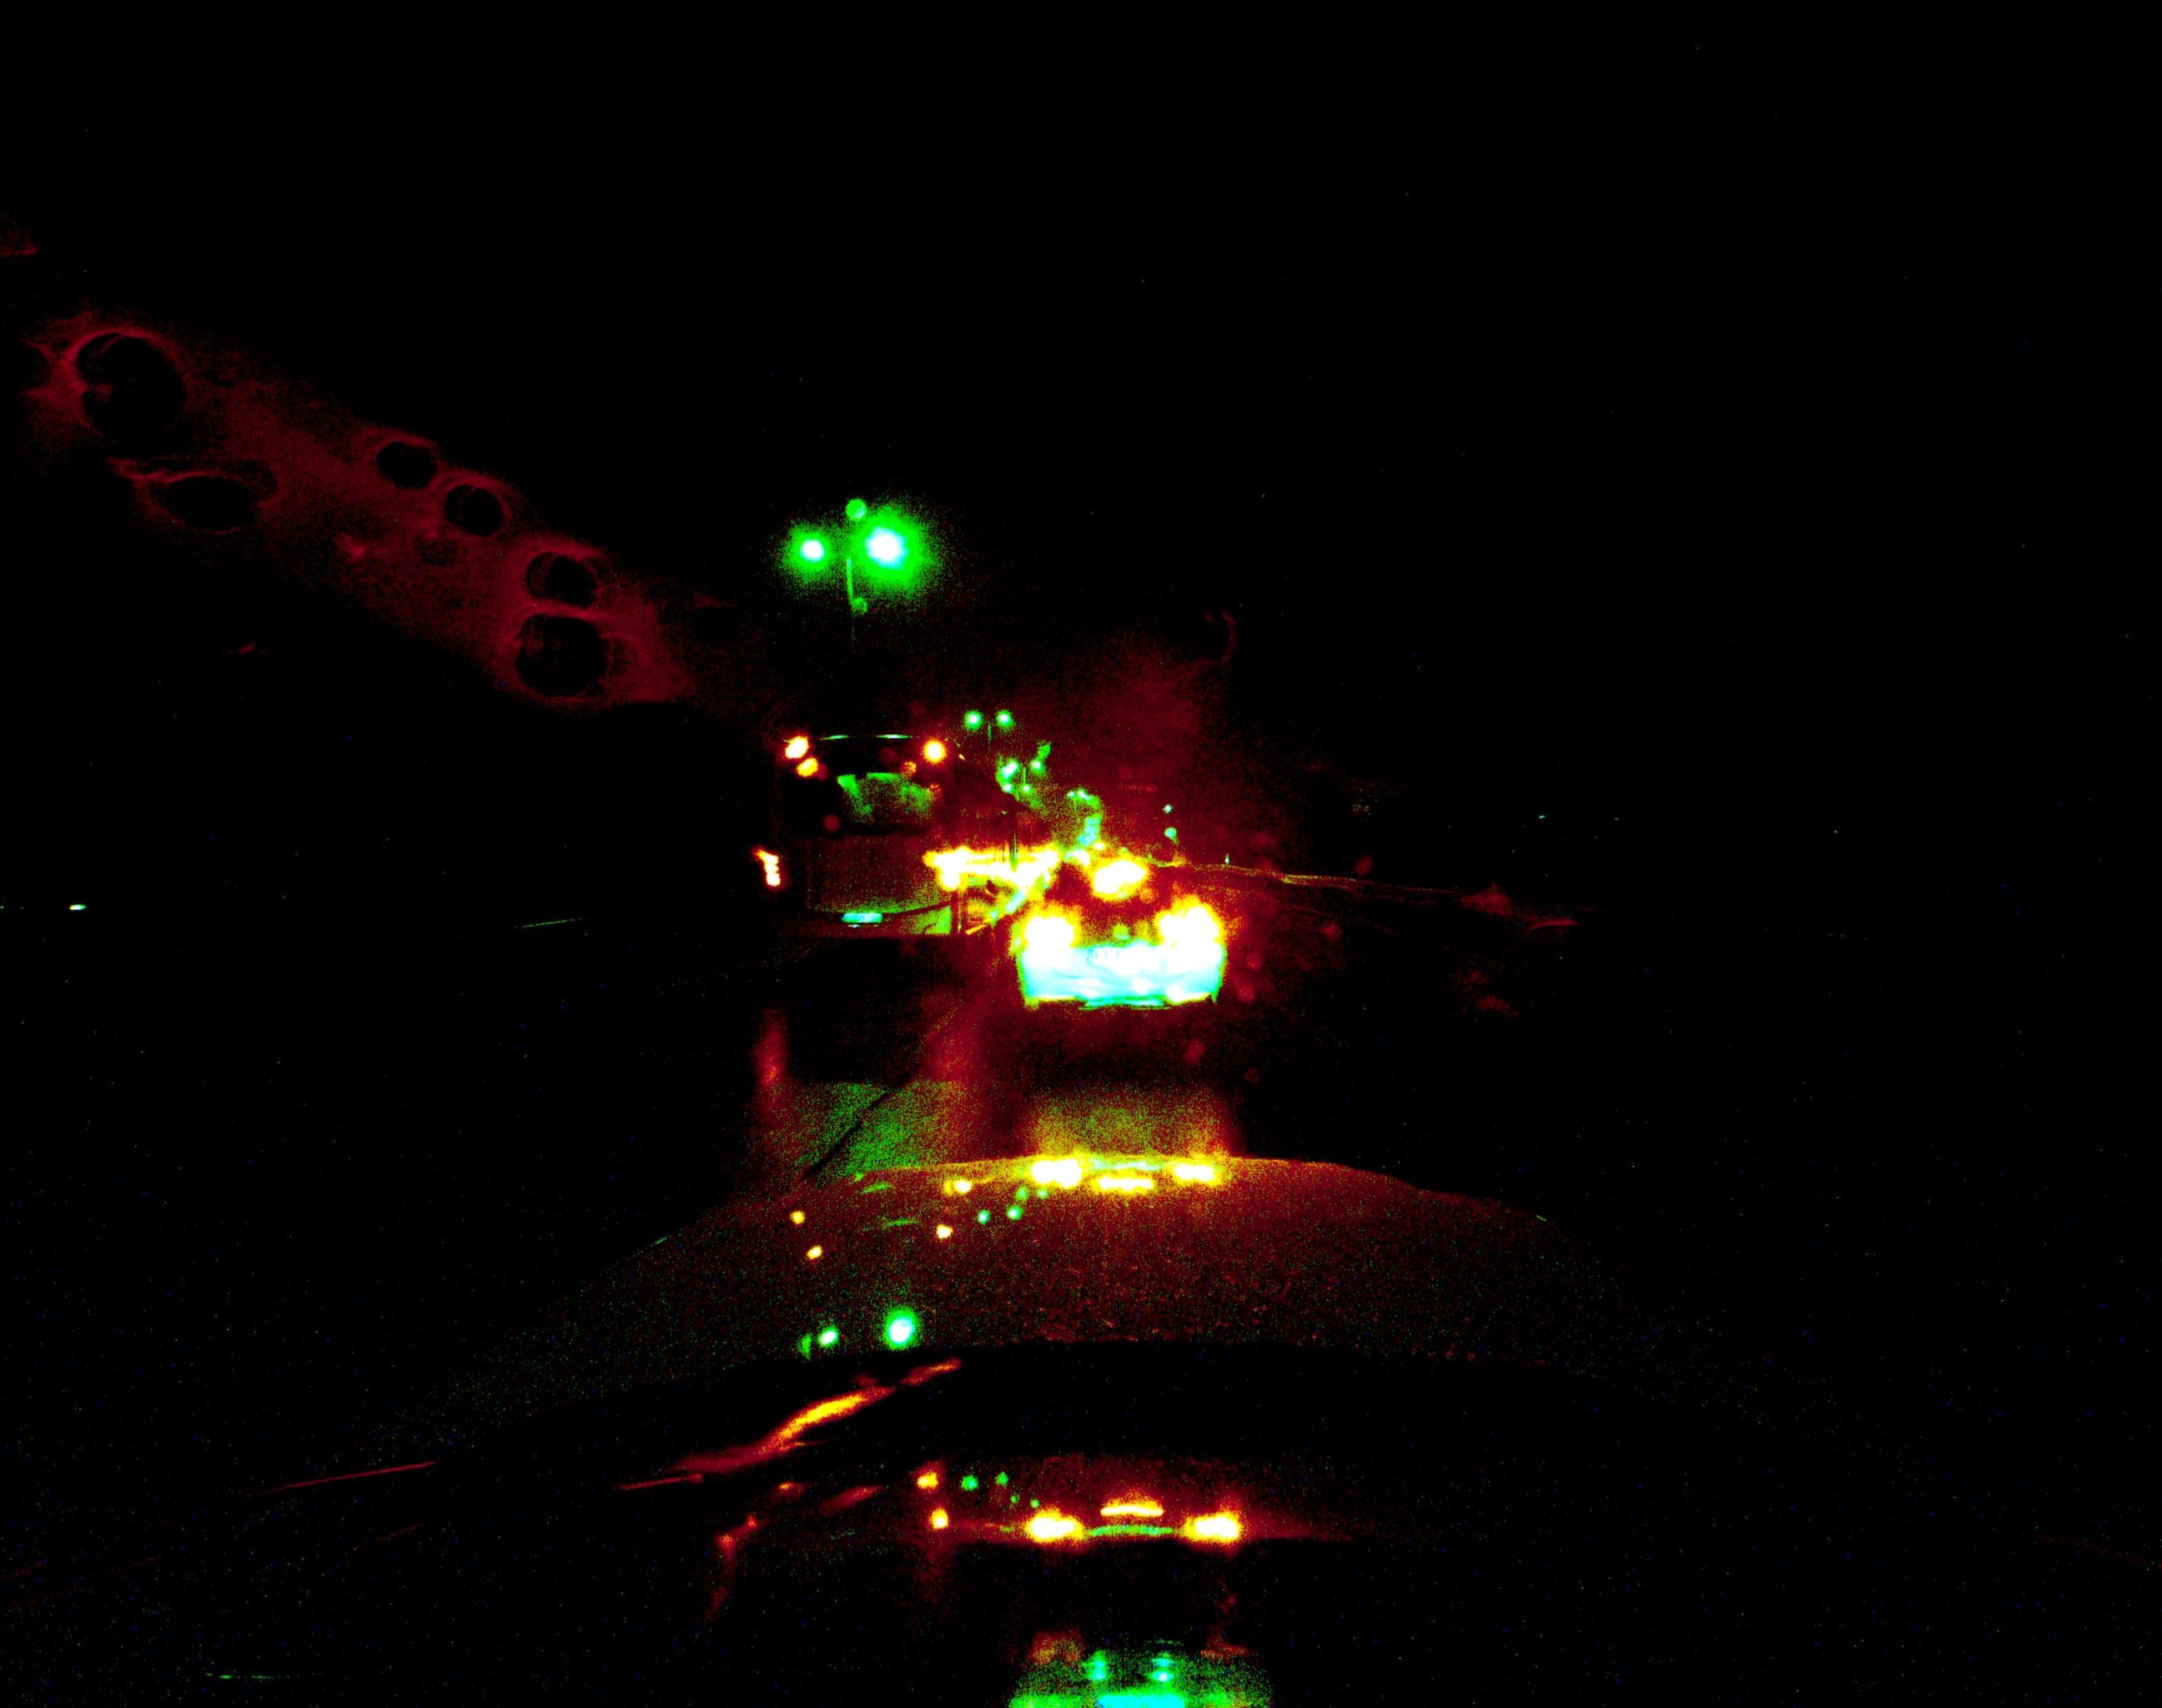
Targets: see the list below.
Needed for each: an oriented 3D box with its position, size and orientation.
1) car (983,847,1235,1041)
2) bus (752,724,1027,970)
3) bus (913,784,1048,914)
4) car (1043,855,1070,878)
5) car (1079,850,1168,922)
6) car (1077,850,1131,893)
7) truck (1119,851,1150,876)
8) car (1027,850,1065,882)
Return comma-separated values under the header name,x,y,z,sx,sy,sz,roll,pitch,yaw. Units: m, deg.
name,x,y,z,sx,sy,sz,roll,pitch,yaw
car,0.335,0.712,8.177,1.936,1.491,3.719,-1,0,4
bus,-2.767,-0.122,15.062,2.734,3.123,9.203,1,0,1
bus,-2.611,-0.160,24.053,2.734,3.123,8.705,1,0,1
car,-1.603,0.869,54.955,1.552,1.487,3.810,1,-1,2
car,0.940,0.671,18.645,1.815,1.461,3.717,-1,0,2
car,0.850,0.609,29.707,1.815,1.461,3.717,-1,0,2
truck,5.713,1.014,85.957,3.055,2.528,7.176,0,-1,5
car,-1.659,0.593,39.609,1.552,1.487,3.810,1,-1,2
